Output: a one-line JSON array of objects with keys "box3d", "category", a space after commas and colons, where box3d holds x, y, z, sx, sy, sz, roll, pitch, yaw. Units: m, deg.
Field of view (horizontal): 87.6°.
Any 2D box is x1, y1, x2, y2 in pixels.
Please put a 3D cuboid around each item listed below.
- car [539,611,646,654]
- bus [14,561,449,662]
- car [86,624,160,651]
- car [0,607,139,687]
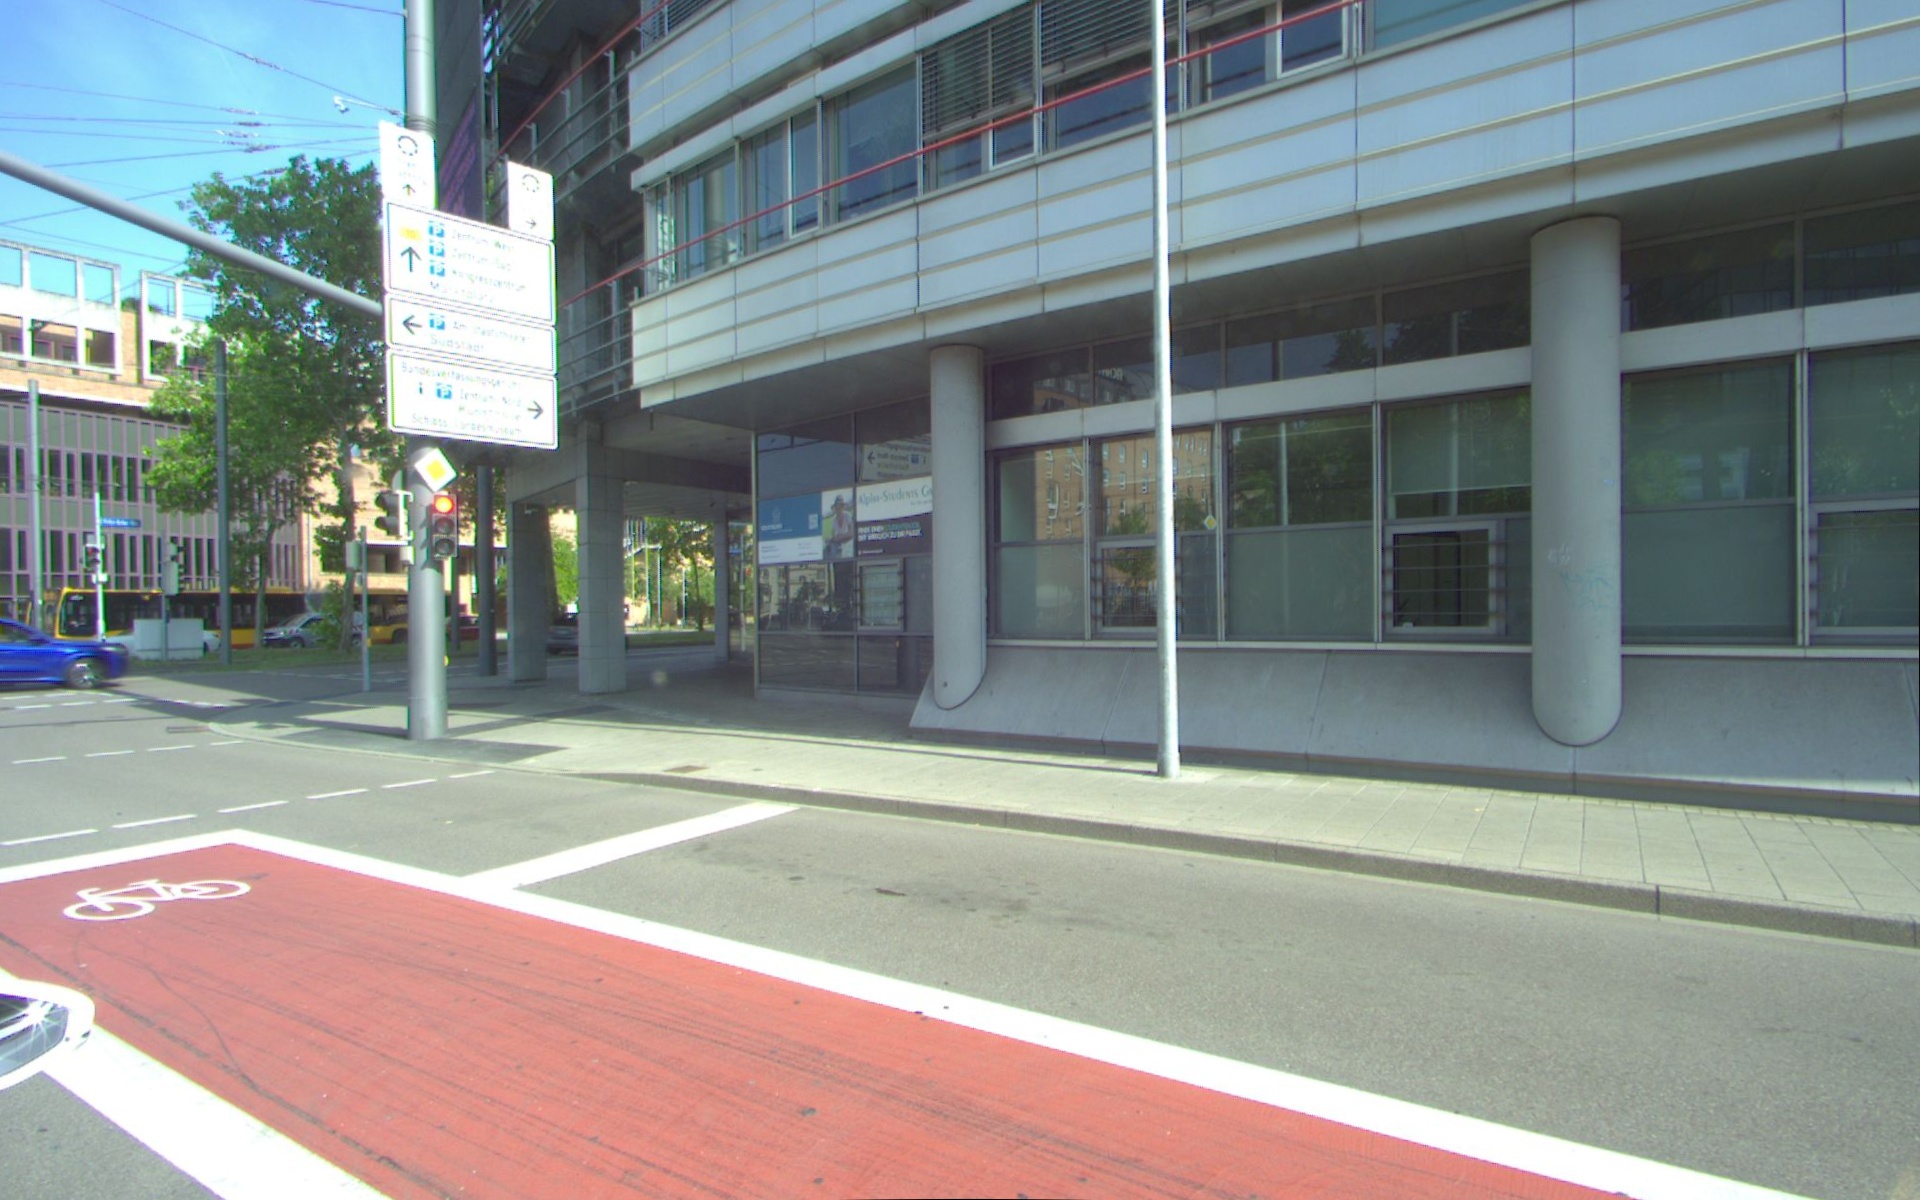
[{"box3d": [-13.477, 1.164, 36.932, 1.674, 1.512, 3.592, 1, 0, 24], "category": "car"}, {"box3d": [-32.914, 0.569, 47.449, 2.818, 3.859, 17.617, -2, -1, 24], "category": "bus"}, {"box3d": [-32.373, 1.434, 38.755, 1.078, 0.970, 1.947, -1, 0, 32], "category": "car"}, {"box3d": [-20.775, 1.029, 21.591, 1.966, 1.656, 4.386, -3, -2, 35], "category": "car"}]
